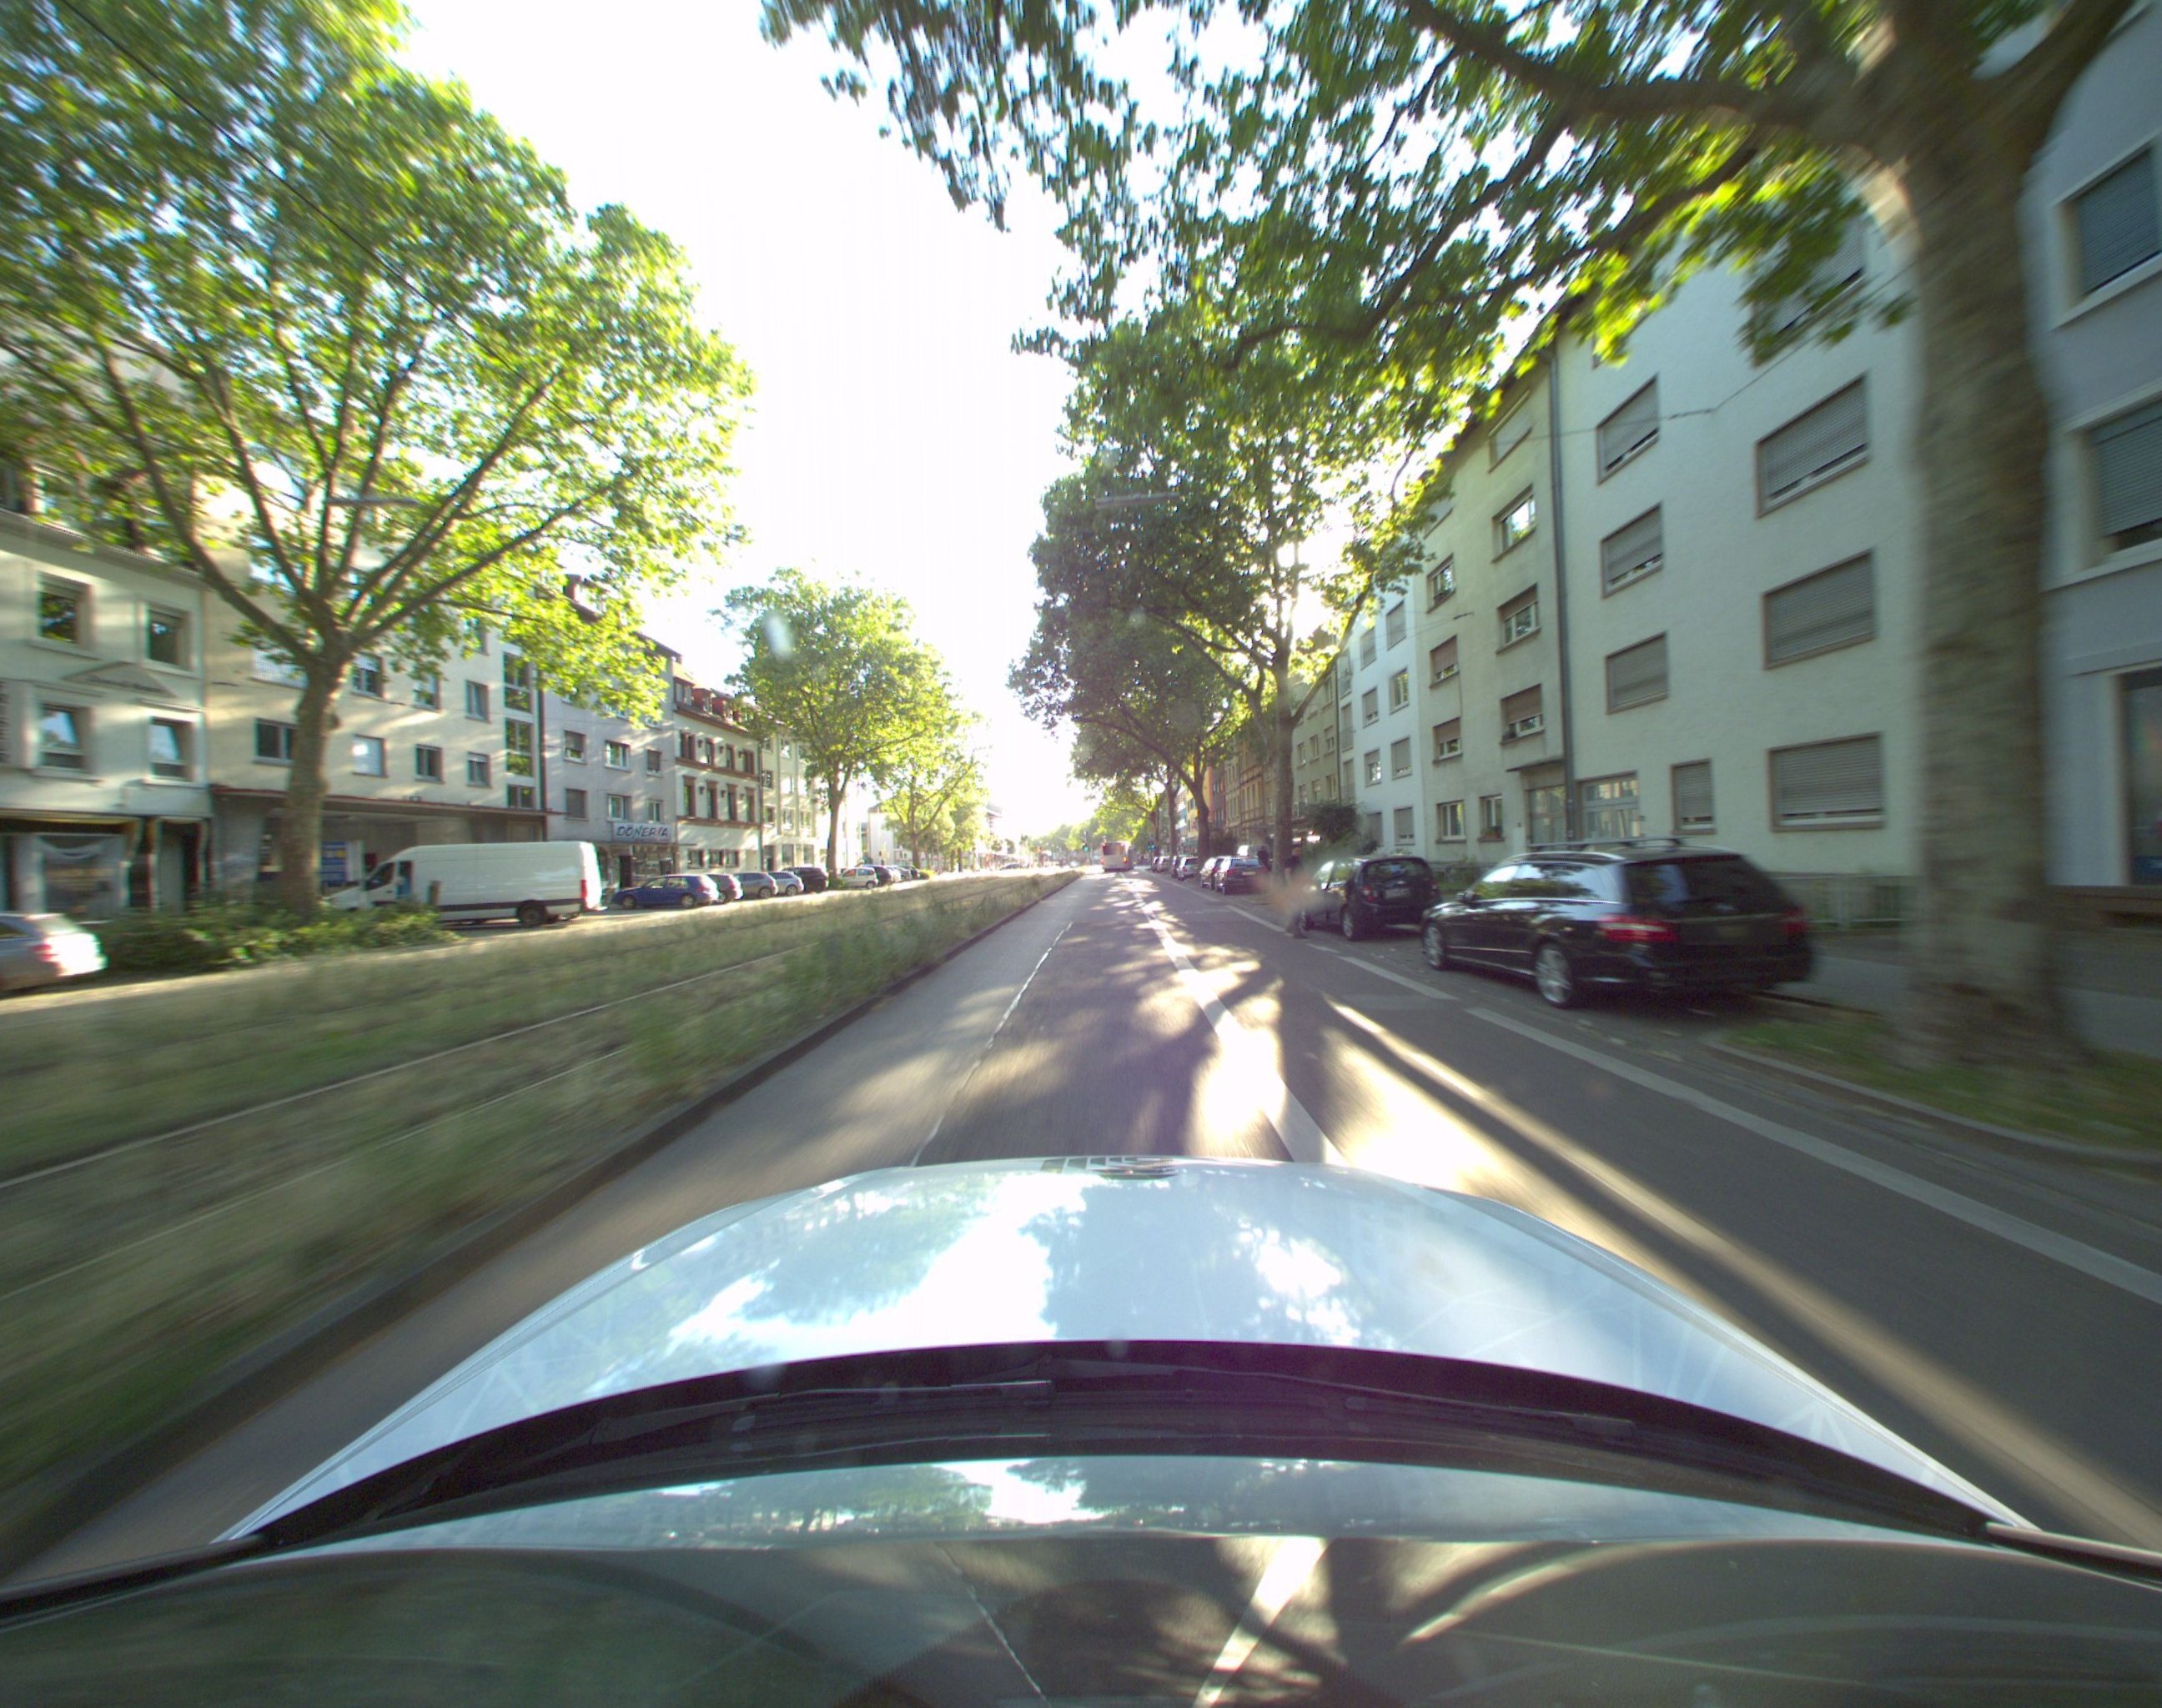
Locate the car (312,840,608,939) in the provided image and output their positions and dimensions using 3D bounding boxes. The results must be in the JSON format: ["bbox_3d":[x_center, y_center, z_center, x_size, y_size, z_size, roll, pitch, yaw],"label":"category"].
[{"bbox_3d":[-19.048,1.014,25.486,6.960,2.678,2.171,-2,-1,-20],"label":"car"}]

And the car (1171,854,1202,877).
[{"bbox_3d":[7.445,0.816,57.754,1.774,1.516,4.001,-2,0,2],"label":"car"}]

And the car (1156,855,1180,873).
[{"bbox_3d":[7.723,0.853,72.328,1.774,1.516,4.001,-2,0,2],"label":"car"}]

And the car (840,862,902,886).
[{"bbox_3d":[-16.602,1.608,64.459,4.334,1.738,1.837,-1,-1,-39],"label":"car"}]

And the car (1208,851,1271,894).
[{"bbox_3d":[6.152,0.686,31.987,1.774,1.516,4.001,-2,0,2],"label":"car"}]

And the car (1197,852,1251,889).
[{"bbox_3d":[6.410,0.727,36.869,1.774,1.516,4.001,-2,0,2],"label":"car"}]

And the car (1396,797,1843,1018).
[{"bbox_3d":[5.409,0.480,9.219,1.738,1.770,4.988,-2,-1,0],"label":"car"}]

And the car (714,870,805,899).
[{"bbox_3d":[-17.809,1.673,45.151,4.334,1.458,1.837,-1,-1,-39],"label":"car"}]

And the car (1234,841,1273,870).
[{"bbox_3d":[12.030,0.142,56.963,1.876,1.860,4.327,-2,-1,2],"label":"car"}]

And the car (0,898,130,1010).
[{"bbox_3d":[-18.318,1.646,12.831,4.018,1.699,1.835,-1,-1,-37],"label":"car"}]

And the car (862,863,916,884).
[{"bbox_3d":[-17.271,1.717,73.172,4.334,1.738,1.837,-1,-1,-39],"label":"car"}]

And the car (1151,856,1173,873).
[{"bbox_3d":[7.839,1.015,78.752,1.774,1.516,4.001,-2,0,2],"label":"car"}]

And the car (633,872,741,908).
[{"bbox_3d":[-18.239,1.649,37.897,4.314,1.458,1.845,-2,-1,-21],"label":"car"}]

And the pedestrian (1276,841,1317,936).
[{"bbox_3d":[4.112,0.649,15.571,0.574,1.779,0.514,-2,0,1],"label":"pedestrian"}]

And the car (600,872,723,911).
[{"bbox_3d":[-18.099,1.599,35.309,4.290,1.458,1.856,-2,-1,-4],"label":"car"}]

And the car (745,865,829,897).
[{"bbox_3d":[-17.503,1.581,48.591,4.334,1.738,1.837,-1,-1,-39],"label":"car"}]

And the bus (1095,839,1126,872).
[{"bbox_3d":[3.050,0.219,86.119,2.825,3.235,8.178,-2,-1,-1],"label":"bus"}]

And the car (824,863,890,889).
[{"bbox_3d":[-16.646,1.619,60.647,4.334,1.738,1.837,-1,-1,-39],"label":"car"}]

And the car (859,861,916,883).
[{"bbox_3d":[-16.753,1.546,70.590,4.334,1.738,1.837,-1,-1,-39],"label":"car"}]

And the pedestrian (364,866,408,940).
[{"bbox_3d":[-19.486,1.364,22.847,0.636,2.013,0.631,-2,0,2],"label":"pedestrian"}]

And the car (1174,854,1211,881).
[{"bbox_3d":[6.766,0.774,49.635,1.774,1.516,4.001,-2,0,2],"label":"car"}]

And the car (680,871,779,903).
[{"bbox_3d":[-18.085,1.670,41.965,4.334,1.458,1.837,-1,-1,-39],"label":"car"}]

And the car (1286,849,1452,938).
[{"bbox_3d":[5.509,0.726,16.134,1.681,1.486,3.996,-2,-1,-3],"label":"car"}]
